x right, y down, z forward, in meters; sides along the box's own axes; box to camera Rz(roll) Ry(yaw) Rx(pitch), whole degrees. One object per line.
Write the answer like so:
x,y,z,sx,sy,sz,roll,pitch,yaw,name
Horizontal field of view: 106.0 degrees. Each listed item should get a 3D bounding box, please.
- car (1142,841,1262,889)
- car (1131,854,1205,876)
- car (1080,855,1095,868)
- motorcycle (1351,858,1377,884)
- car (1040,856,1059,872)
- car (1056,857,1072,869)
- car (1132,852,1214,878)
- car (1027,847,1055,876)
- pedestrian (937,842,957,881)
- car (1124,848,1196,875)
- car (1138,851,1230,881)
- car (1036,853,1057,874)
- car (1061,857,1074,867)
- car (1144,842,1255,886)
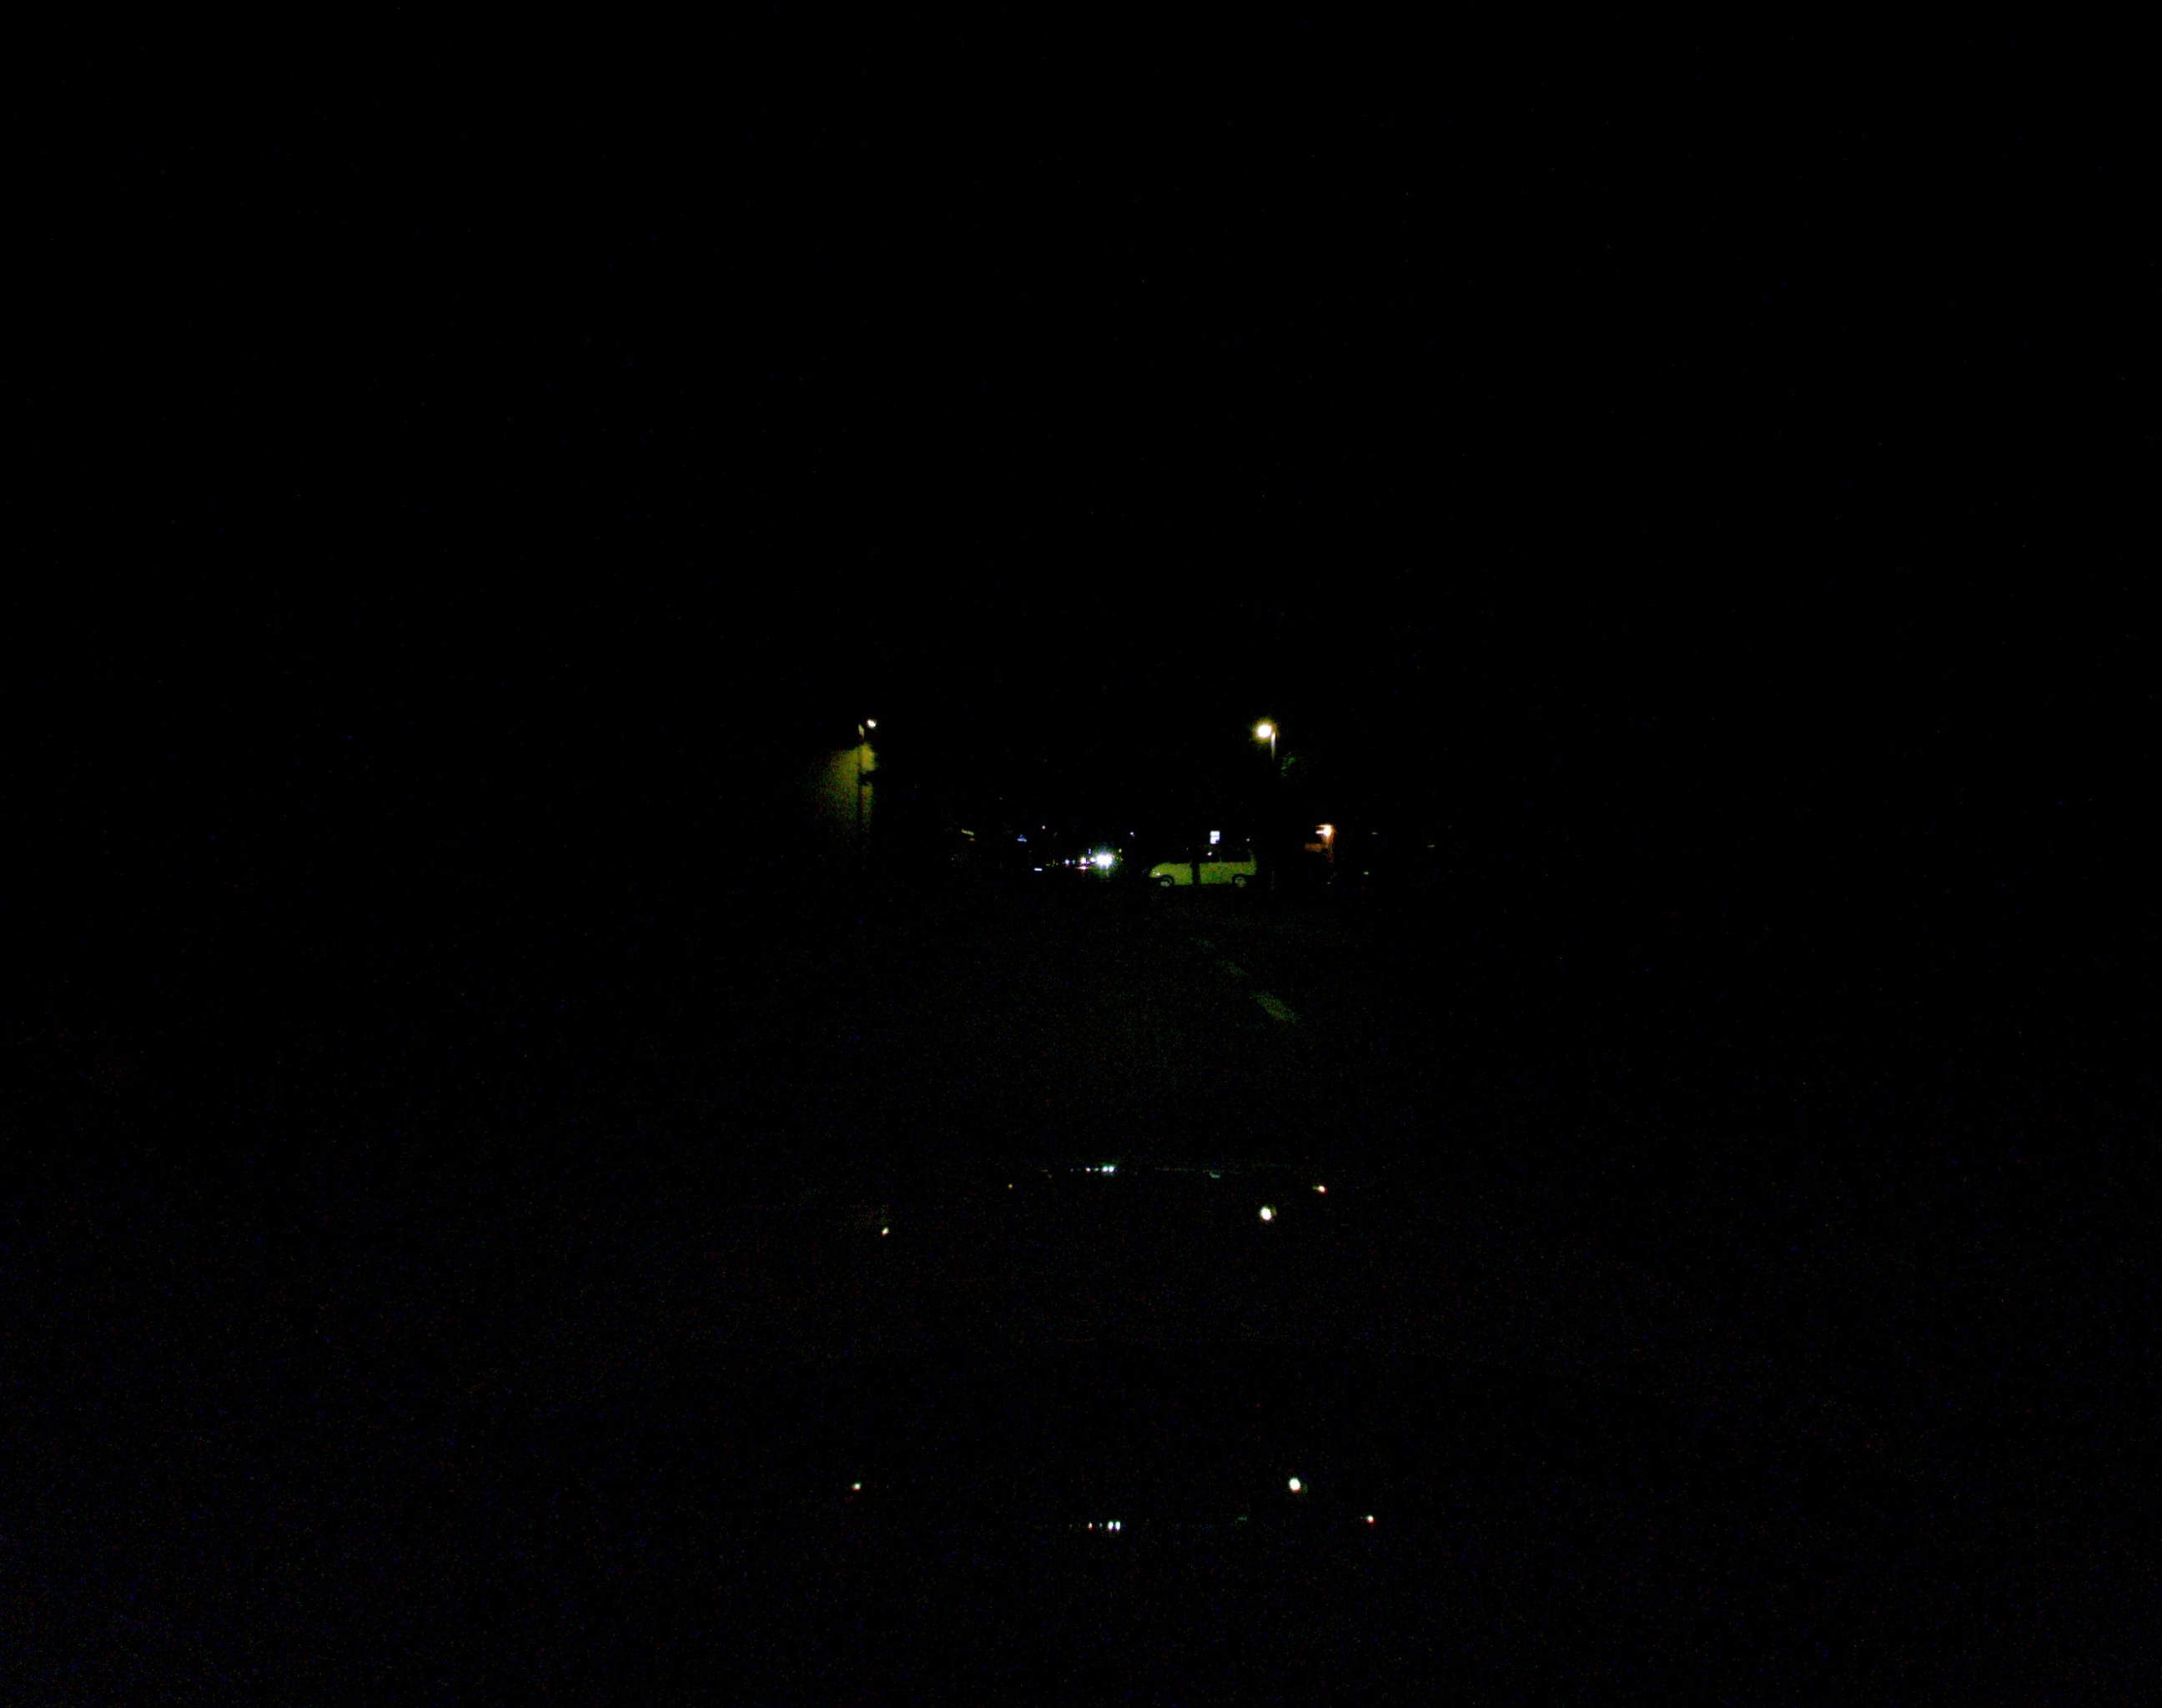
5.453,0.497,37.245,5.165,2.013,2.101,-1,0,0,car
6.270,0.770,59.291,5.165,1.469,2.101,-1,0,0,car
0.875,1.003,112.247,1.921,1.649,3.821,-1,0,0,car
14.976,0.880,43.055,1.060,1.327,2.722,0,1,25,motorcycle
-2.822,0.897,73.080,1.529,1.451,3.119,0,0,0,car
-1.934,0.994,94.035,1.677,1.331,3.599,0,0,0,car
6.032,0.717,53.777,5.165,1.594,2.101,-1,0,0,car
-2.950,0.546,61.200,1.819,1.986,4.465,2,0,0,car
-6.948,0.384,42.272,0.782,2.013,1.204,2,0,1,pedestrian
6.028,0.556,61.897,5.149,1.887,2.108,-1,0,10,car
6.053,0.692,48.282,5.165,1.594,2.101,-1,0,0,car
-2.889,0.786,68.046,1.529,1.688,3.212,2,0,0,car
-1.793,1.061,109.718,1.677,1.331,3.599,0,0,0,car
5.809,0.468,40.304,5.165,2.013,2.101,-1,0,0,car
